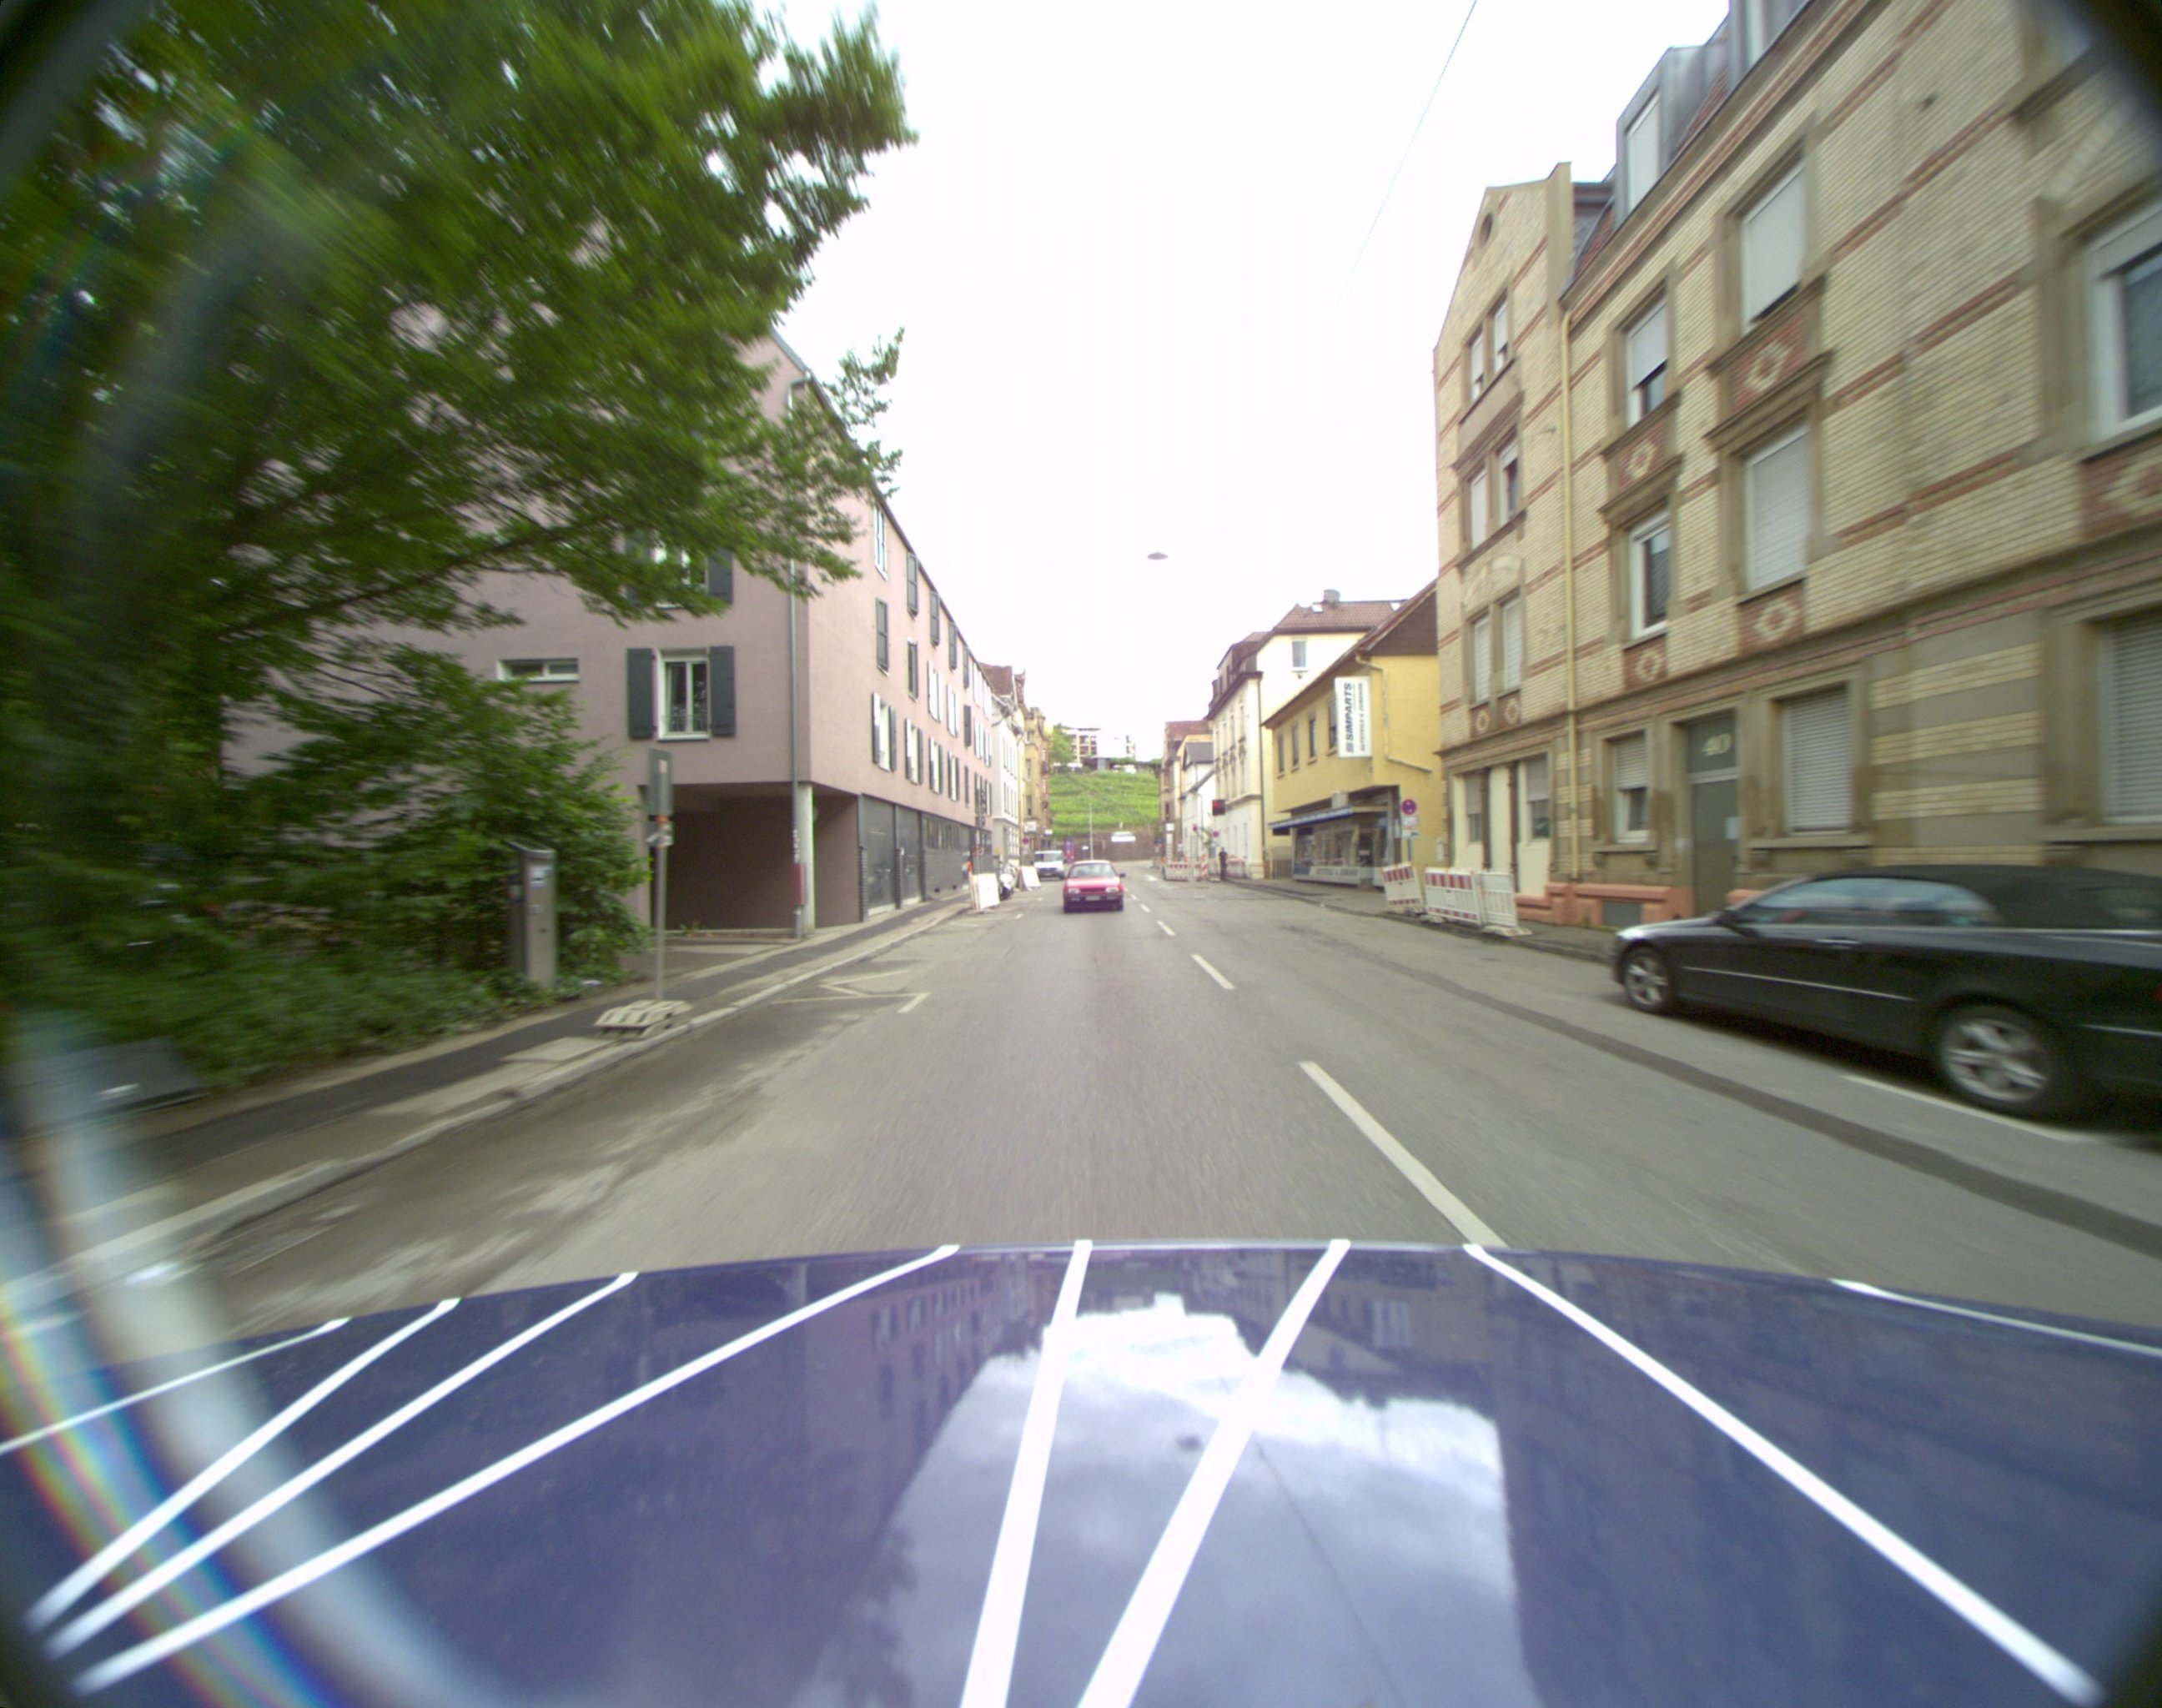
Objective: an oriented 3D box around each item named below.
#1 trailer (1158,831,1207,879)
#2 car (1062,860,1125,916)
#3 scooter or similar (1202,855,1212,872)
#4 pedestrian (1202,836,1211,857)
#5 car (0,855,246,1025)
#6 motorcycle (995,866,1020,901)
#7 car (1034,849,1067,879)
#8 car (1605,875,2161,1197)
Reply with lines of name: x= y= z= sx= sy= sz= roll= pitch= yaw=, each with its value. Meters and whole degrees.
trailer: x=6.233 y=0.047 z=47.385 sx=2.450 sy=2.788 sz=6.303 roll=0 pitch=0 yaw=3
car: x=0.423 y=0.925 z=22.208 sx=1.626 sy=1.387 sz=4.000 roll=-1 pitch=0 yaw=3
scooter or similar: x=9.773 y=0.711 z=58.826 sx=0.561 sy=1.283 sz=1.227 roll=-2 pitch=1 yaw=1
pedestrian: x=9.714 y=-0.572 z=58.752 sx=0.602 sy=1.557 sz=0.607 roll=-2 pitch=1 yaw=0
car: x=-10.916 y=0.799 z=7.224 sx=1.640 sy=1.575 sz=3.999 roll=1 pitch=-1 yaw=-3
motorcycle: x=-2.813 y=1.116 z=29.403 sx=0.648 sy=1.219 sz=2.337 roll=-2 pitch=1 yaw=1
car: x=-2.013 y=0.640 z=52.007 sx=1.998 sy=1.970 sz=4.877 roll=-1 pitch=0 yaw=0
car: x=5.861 y=0.905 z=5.230 sx=1.582 sy=1.375 sz=4.354 roll=0 pitch=0 yaw=1
